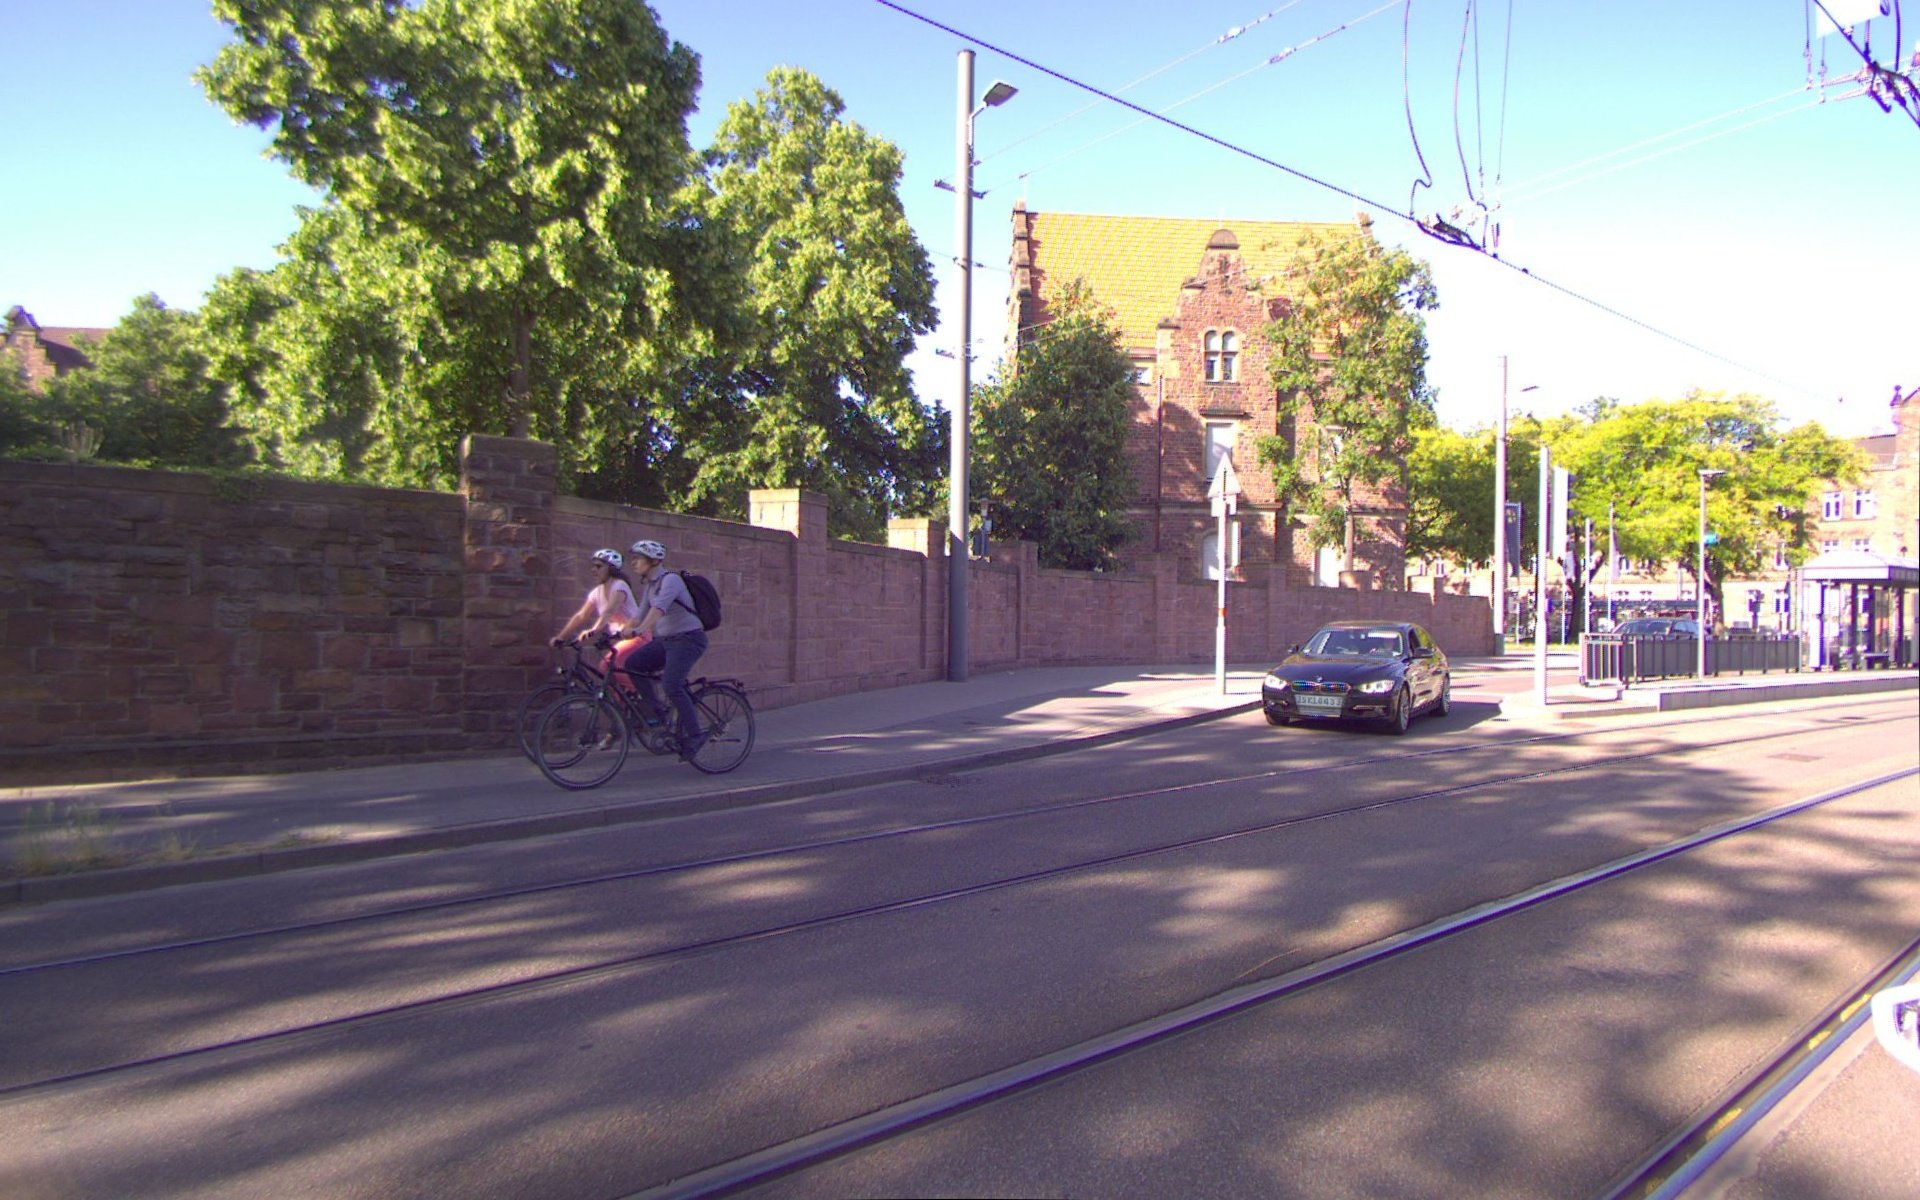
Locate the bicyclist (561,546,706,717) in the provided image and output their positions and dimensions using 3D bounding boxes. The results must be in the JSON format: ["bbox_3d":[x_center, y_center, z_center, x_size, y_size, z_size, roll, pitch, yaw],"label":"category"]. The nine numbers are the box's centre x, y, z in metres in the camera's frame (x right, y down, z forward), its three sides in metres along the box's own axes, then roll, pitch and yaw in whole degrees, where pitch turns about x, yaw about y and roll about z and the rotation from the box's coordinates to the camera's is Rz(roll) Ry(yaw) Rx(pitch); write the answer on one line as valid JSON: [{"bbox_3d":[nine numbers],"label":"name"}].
[{"bbox_3d":[-2.891,0.270,8.885,1.049,1.409,0.728,2,0,-32],"label":"bicyclist"}]

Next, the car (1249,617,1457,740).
[{"bbox_3d":[5.731,0.996,14.320,1.713,1.441,4.245,1,-1,36],"label":"car"}]

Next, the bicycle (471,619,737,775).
[{"bbox_3d":[-3.079,0.801,8.771,2.065,1.207,0.728,2,0,-32],"label":"bicycle"}]

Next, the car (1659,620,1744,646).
[{"bbox_3d":[48.444,2.121,65.710,1.855,1.542,4.045,2,0,-30],"label":"car"}]

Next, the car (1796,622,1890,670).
[{"bbox_3d":[32.341,1.660,36.763,4.080,1.659,1.783,1,-1,-37],"label":"car"}]

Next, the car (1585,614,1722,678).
[{"bbox_3d":[19.190,1.228,27.749,4.078,1.638,1.908,2,-1,-36],"label":"car"}]

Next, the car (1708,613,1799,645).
[{"bbox_3d":[46.528,1.678,58.977,1.730,1.682,3.840,2,0,-30],"label":"car"}]

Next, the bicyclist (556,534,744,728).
[{"bbox_3d":[-2.456,0.241,7.945,1.257,1.409,0.762,2,0,-30],"label":"bicyclist"}]

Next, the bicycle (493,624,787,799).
[{"bbox_3d":[-2.500,0.823,7.934,2.078,1.207,0.768,2,0,-30],"label":"bicycle"}]
